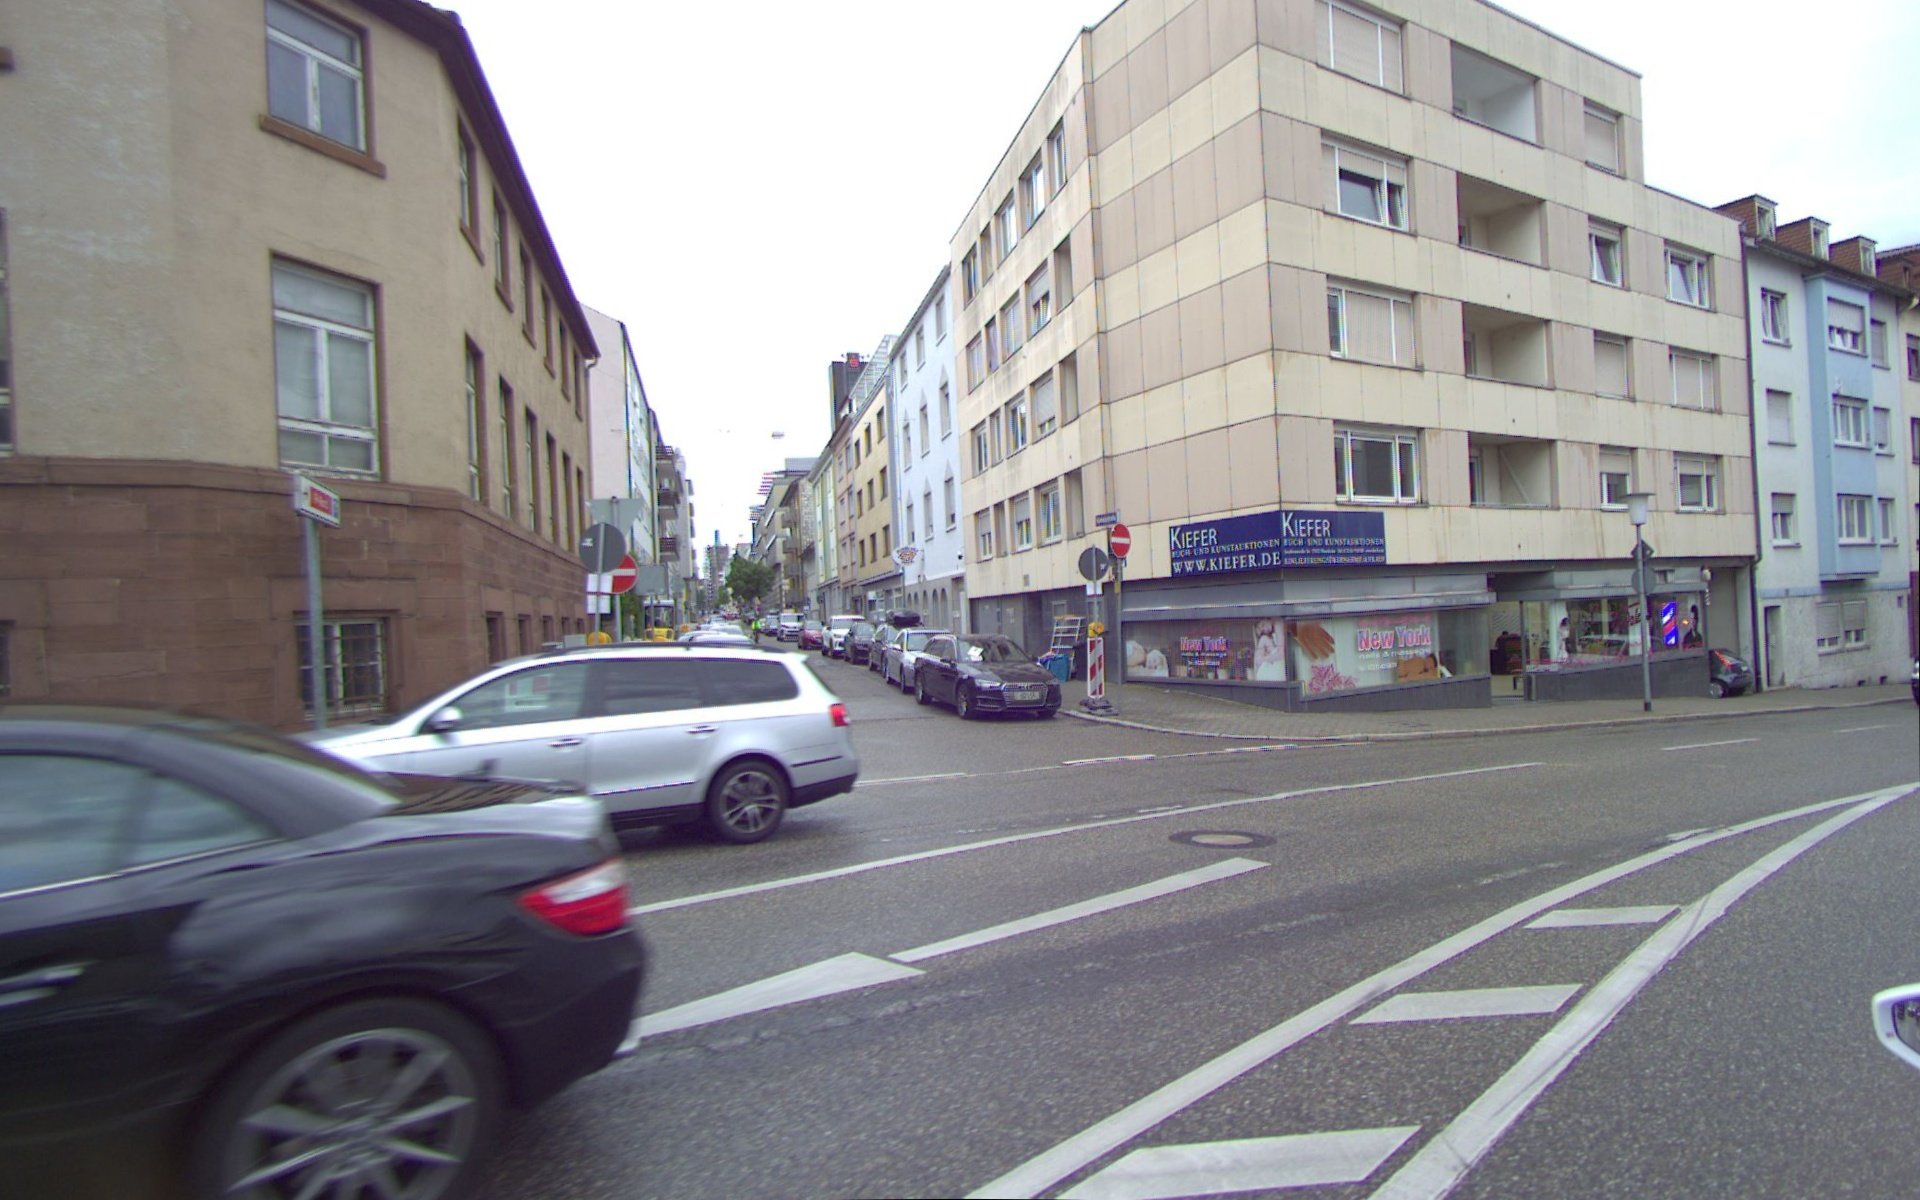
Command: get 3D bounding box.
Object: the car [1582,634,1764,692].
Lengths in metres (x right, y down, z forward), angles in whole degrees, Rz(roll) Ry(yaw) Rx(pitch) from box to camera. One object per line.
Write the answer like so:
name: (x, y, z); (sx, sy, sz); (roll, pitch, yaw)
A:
car: (20.712, 1.791, 29.326); (1.779, 1.519, 3.966); (2, -2, -32)

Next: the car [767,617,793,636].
car: (-15.329, 2.263, 85.202); (1.866, 1.532, 4.335); (1, -1, -14)

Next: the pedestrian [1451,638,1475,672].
pedestrian: (15.842, 1.736, 31.649); (0.444, 1.028, 0.477); (-4, 1, -32)

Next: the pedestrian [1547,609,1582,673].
pedestrian: (16.986, 1.151, 28.219); (0.565, 1.753, 0.596); (-4, 1, -33)

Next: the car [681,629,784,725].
car: (-4.590, 1.416, 19.866); (1.700, 1.531, 3.986); (-2, 0, -16)

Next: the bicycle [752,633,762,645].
bicycle: (-12.092, 2.323, 59.808); (0.459, 0.641, 1.351); (-4, 1, -14)

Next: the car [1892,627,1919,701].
car: (25.299, 1.548, 25.038); (4.350, 1.775, 1.860); (1, -4, -32)

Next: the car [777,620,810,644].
car: (-11.439, 2.159, 68.912); (1.866, 1.532, 4.335); (1, -1, -14)

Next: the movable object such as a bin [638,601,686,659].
movable object such as a bin: (-9.968, 0.962, 33.556); (1.375, 1.755, 3.476); (-3, 0, -18)

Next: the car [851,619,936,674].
car: (-2.134, 1.398, 31.160); (1.866, 1.532, 4.335); (1, -1, -14)

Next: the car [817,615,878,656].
car: (-4.603, 1.400, 40.603); (1.866, 1.532, 4.335); (1, -1, -14)

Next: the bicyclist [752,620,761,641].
bicyclist: (-12.103, 1.815, 59.782); (0.458, 1.169, 0.467); (-4, 1, -15)

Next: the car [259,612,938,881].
car: (-2.577, 0.979, 7.828); (4.592, 1.558, 1.735); (2, -5, -33)

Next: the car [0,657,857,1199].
car: (-2.459, 0.870, 2.511); (4.103, 1.335, 1.703); (1, -2, -36)

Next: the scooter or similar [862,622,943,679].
scooter or similar: (-1.685, 1.394, 28.564); (1.665, 1.346, 3.081); (-4, 1, -14)

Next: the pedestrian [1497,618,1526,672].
pedestrian: (16.677, 1.360, 30.373); (0.664, 1.583, 0.445); (-4, 1, -30)

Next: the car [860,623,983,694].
car: (-1.057, 1.373, 24.827); (1.868, 1.532, 4.329); (1, -1, -19)

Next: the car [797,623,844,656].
car: (-7.049, 1.973, 50.525); (1.866, 1.532, 4.335); (1, -1, -14)

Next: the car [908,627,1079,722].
car: (0.496, 1.324, 19.260); (1.868, 1.532, 4.329); (1, -1, -19)
